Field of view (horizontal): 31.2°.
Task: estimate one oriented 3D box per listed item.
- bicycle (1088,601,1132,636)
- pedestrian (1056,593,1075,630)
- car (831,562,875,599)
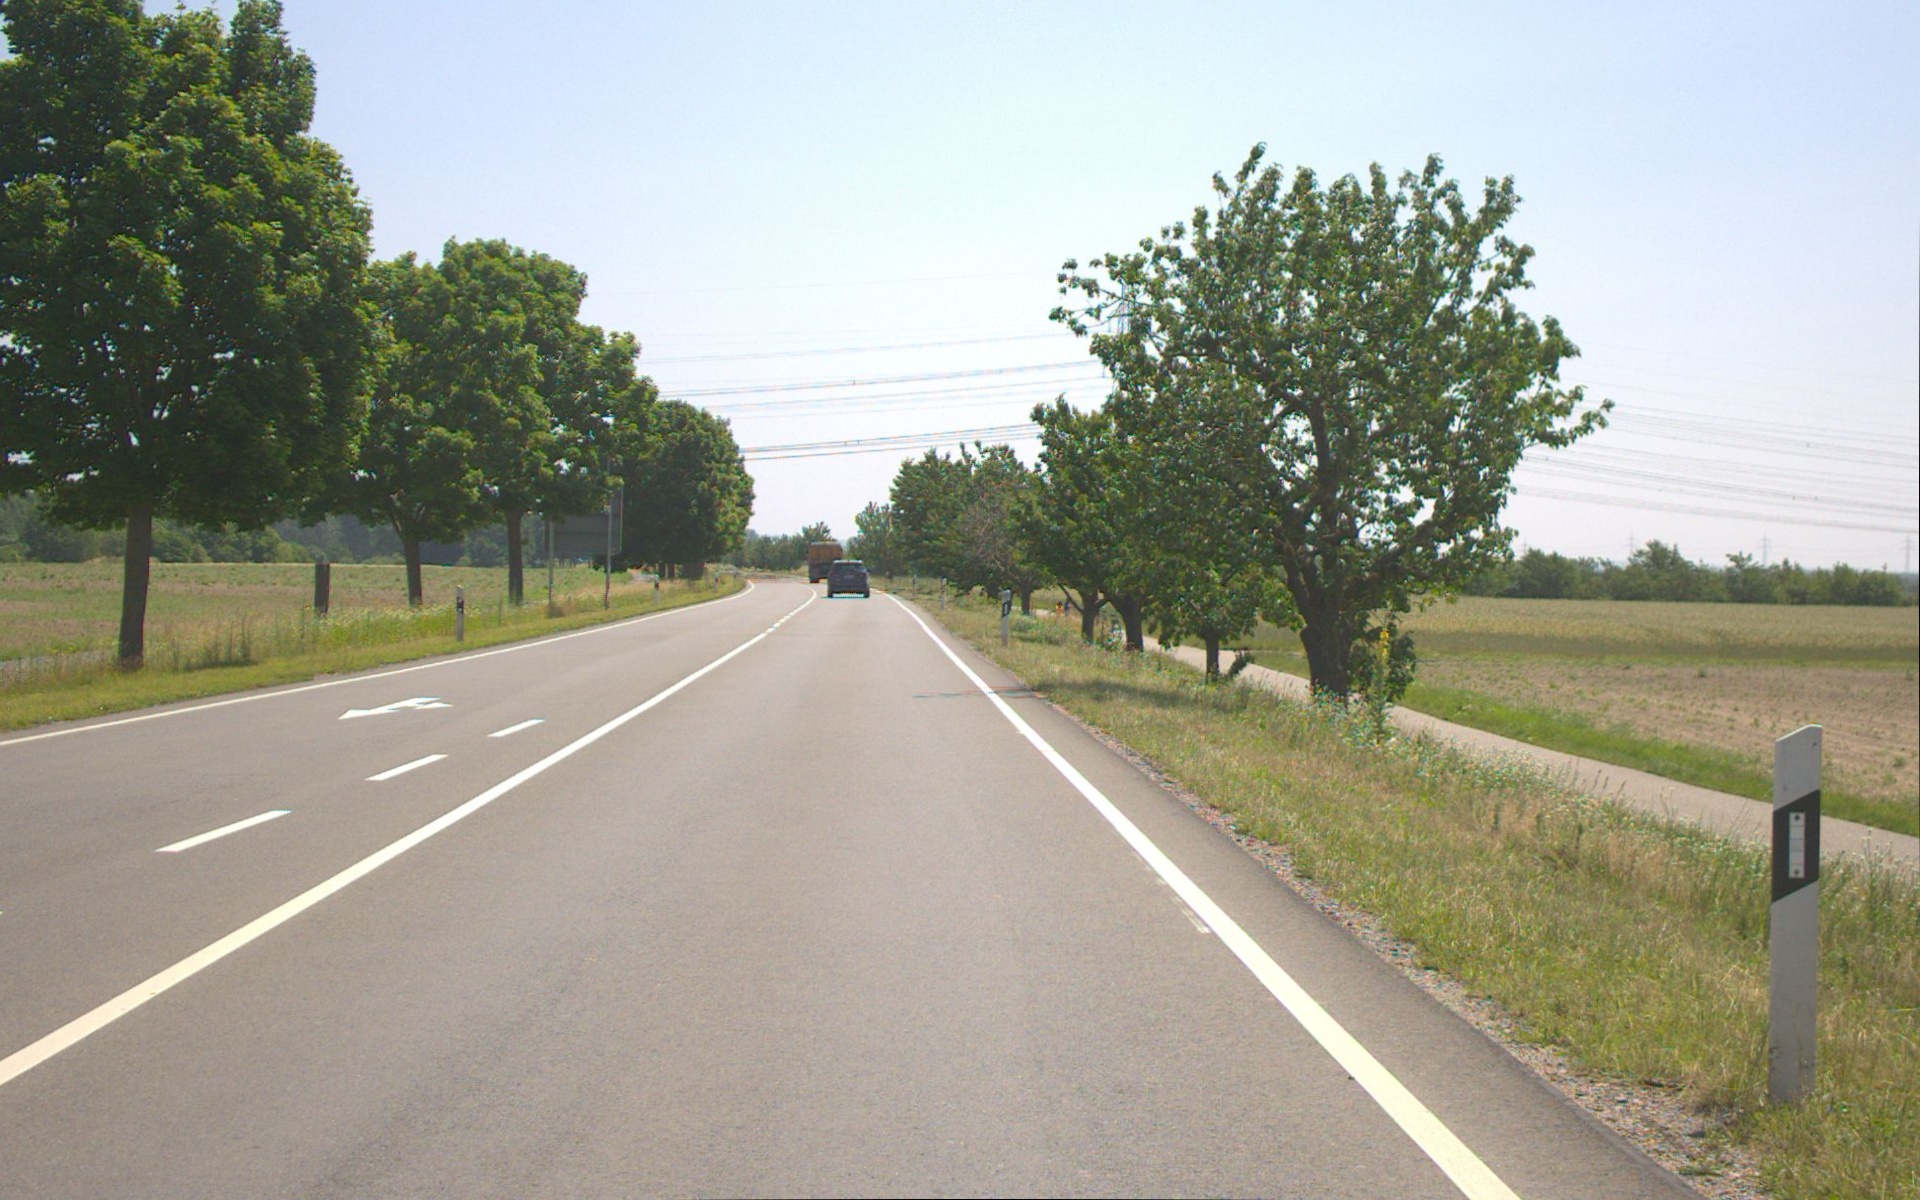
[{"bbox_3d":[5.552,0.680,127.576,1.218,1.161,2.436,3,1,-6],"label":"bicycle"},{"bbox_3d":[4.041,0.428,131.731,0.554,1.366,0.604,3,1,-10],"label":"pedestrian"},{"bbox_3d":[-4.790,-0.898,154.131,1.884,1.513,4.040,4,1,-2],"label":"car"}]
